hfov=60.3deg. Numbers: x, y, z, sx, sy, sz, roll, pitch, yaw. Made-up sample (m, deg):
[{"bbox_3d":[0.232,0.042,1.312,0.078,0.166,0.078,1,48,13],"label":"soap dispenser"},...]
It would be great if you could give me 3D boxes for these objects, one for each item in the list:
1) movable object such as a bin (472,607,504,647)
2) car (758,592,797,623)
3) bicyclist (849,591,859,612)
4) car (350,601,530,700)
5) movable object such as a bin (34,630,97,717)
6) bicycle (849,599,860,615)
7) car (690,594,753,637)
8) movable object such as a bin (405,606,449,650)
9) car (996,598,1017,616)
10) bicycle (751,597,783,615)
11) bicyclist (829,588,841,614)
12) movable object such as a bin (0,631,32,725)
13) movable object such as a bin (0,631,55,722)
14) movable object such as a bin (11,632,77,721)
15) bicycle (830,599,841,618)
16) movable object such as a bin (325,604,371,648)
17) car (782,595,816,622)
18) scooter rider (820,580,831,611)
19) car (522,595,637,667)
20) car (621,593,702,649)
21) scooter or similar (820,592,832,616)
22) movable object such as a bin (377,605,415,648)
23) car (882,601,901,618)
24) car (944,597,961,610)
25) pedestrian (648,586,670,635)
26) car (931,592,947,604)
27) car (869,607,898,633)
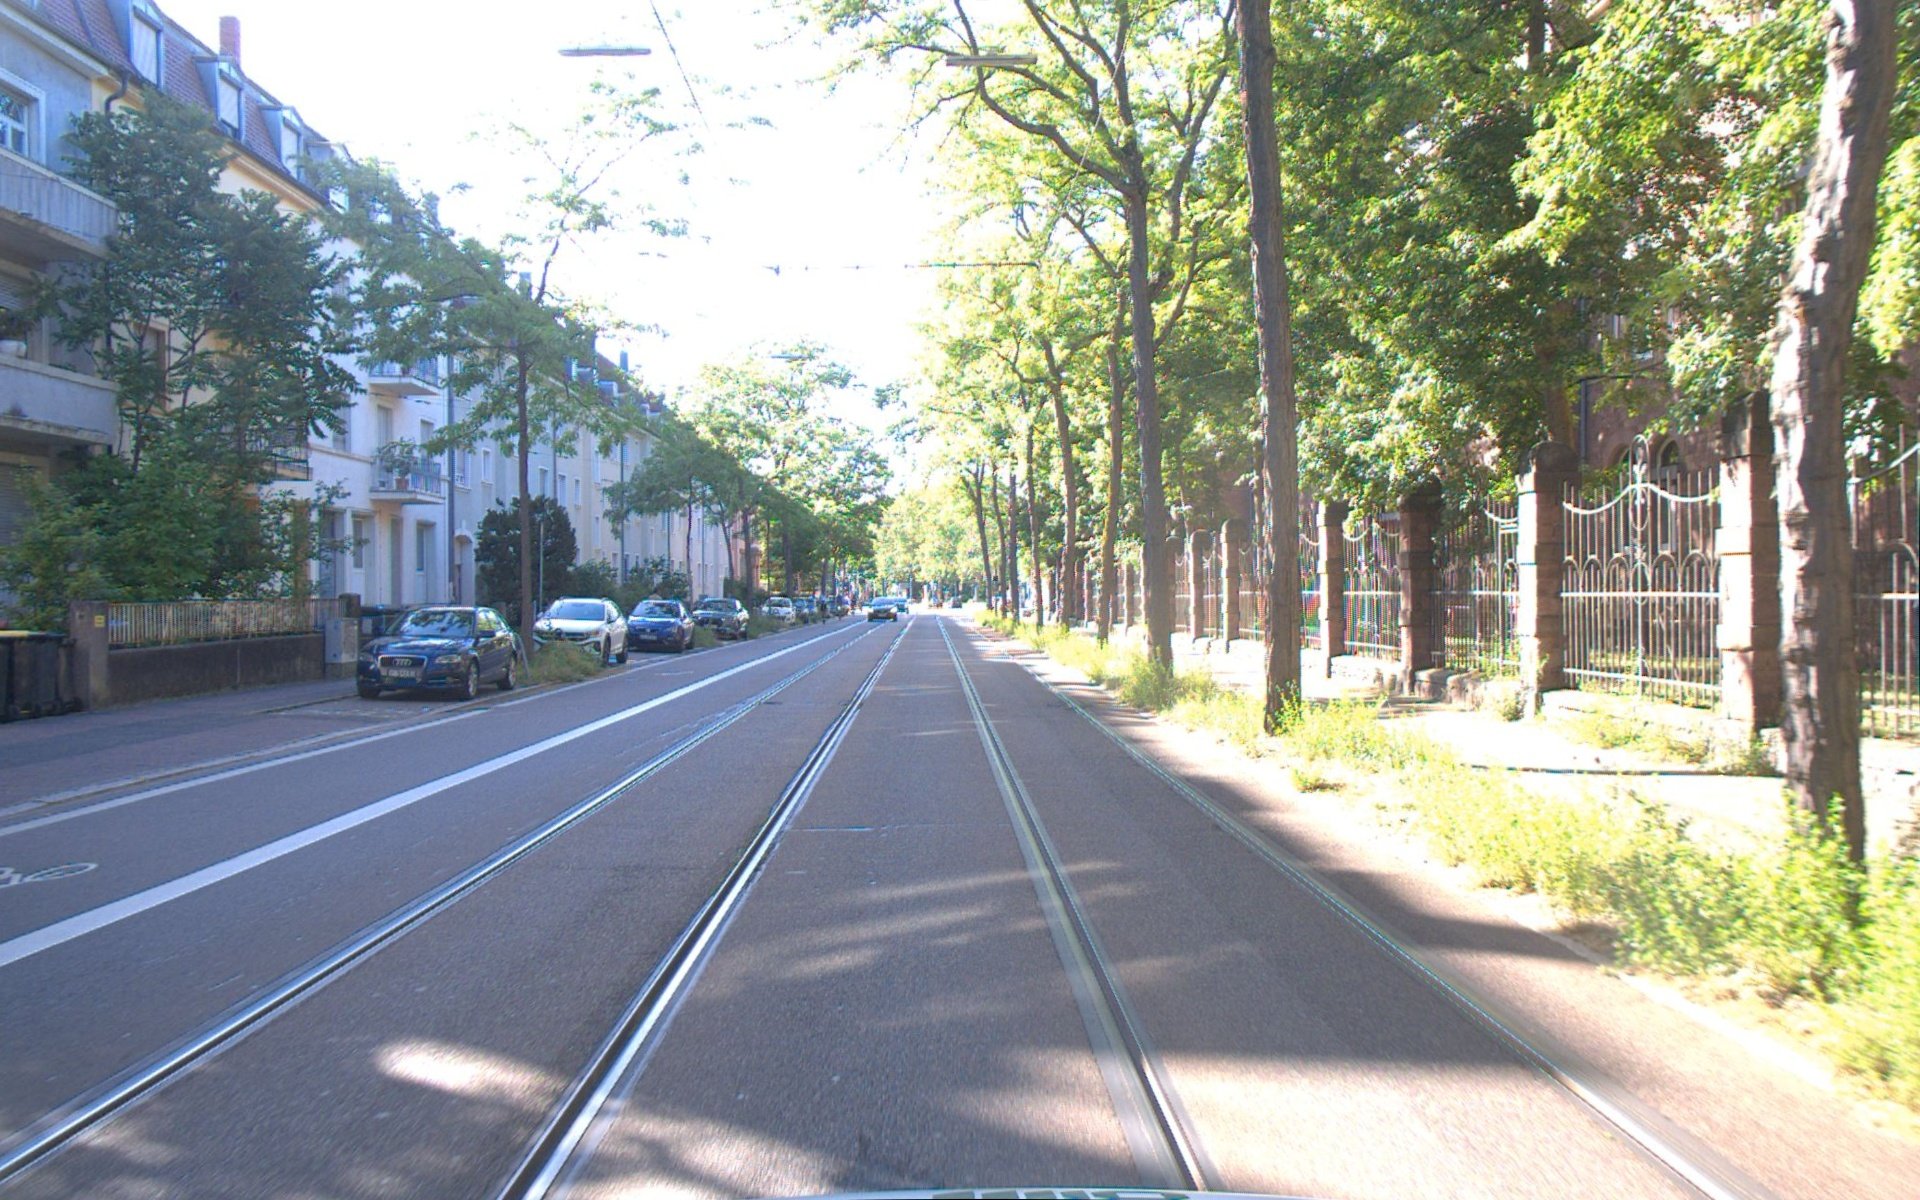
[{"bbox_3d":[-12.033,0.692,42.182,0.548,0.992,0.733,2,0,2],"label":"movable object such as a bin"},{"bbox_3d":[-9.684,0.381,88.003,1.668,1.511,4.078,2,0,-1],"label":"car"},{"bbox_3d":[-8.471,0.113,132.490,0.695,1.635,0.865,-3,0,-1],"label":"bicyclist"},{"bbox_3d":[-8.367,0.759,26.992,1.671,1.431,4.332,1,0,-2],"label":"car"},{"bbox_3d":[-11.494,0.937,21.266,0.526,1.084,0.510,0,0,-1],"label":"movable object such as a bin"},{"bbox_3d":[-8.456,0.556,132.587,0.680,1.198,1.912,-3,0,-1],"label":"bicycle"},{"bbox_3d":[-8.849,0.554,61.679,1.780,1.511,4.205,1,0,-1],"label":"car"},{"bbox_3d":[-13.614,0.710,42.245,0.827,1.064,0.733,2,0,2],"label":"movable object such as a bin"},{"bbox_3d":[4.512,0.643,160.435,1.802,1.684,3.577,0,0,-3],"label":"car"},{"bbox_3d":[-14.322,0.421,122.534,2.236,1.219,0.560,2,1,5],"label":"bicycle"},{"bbox_3d":[-8.248,0.086,109.200,0.613,1.667,0.940,-3,0,-1],"label":"bicyclist"},{"bbox_3d":[-11.463,0.921,19.623,0.530,1.084,0.670,0,0,-1],"label":"movable object such as a bin"},{"bbox_3d":[-11.476,0.931,20.225,0.536,1.084,0.510,0,0,-1],"label":"movable object such as a bin"},{"bbox_3d":[-11.489,0.954,20.747,0.536,1.084,0.510,0,0,-1],"label":"movable object such as a bin"},{"bbox_3d":[-8.222,0.568,109.214,0.614,1.198,1.912,-3,0,-1],"label":"bicycle"},{"bbox_3d":[-15.388,0.652,41.607,0.827,1.064,0.733,2,0,2],"label":"movable object such as a bin"},{"bbox_3d":[-9.370,0.481,96.429,1.653,1.511,3.758,2,0,-2],"label":"car"},{"bbox_3d":[-7.753,-0.252,95.346,0.486,1.729,0.786,-3,0,-1],"label":"scooter rider"},{"bbox_3d":[-8.710,0.673,38.220,1.780,1.537,4.369,1,0,-2],"label":"car"},{"bbox_3d":[-8.773,0.582,48.875,1.722,1.537,4.437,1,0,-2],"label":"car"},{"bbox_3d":[-7.725,0.241,95.341,0.510,1.320,1.377,-3,0,-1],"label":"scooter or similar"},{"bbox_3d":[-14.406,0.679,42.260,0.693,1.064,0.733,2,0,2],"label":"movable object such as a bin"},{"bbox_3d":[-6.157,0.806,148.031,1.665,1.464,4.069,0,0,-2],"label":"car"},{"bbox_3d":[-1.011,0.478,222.362,1.905,1.638,3.994,0,0,-6],"label":"car"},{"bbox_3d":[-11.416,0.407,62.707,0.677,1.833,0.813,-1,0,-1],"label":"pedestrian"},{"bbox_3d":[-3.005,-0.274,237.337,1.905,1.638,3.995,0,0,-6],"label":"car"},{"bbox_3d":[-4.675,1.208,100.980,1.722,1.464,4.521,0,0,-2],"label":"car"}]
